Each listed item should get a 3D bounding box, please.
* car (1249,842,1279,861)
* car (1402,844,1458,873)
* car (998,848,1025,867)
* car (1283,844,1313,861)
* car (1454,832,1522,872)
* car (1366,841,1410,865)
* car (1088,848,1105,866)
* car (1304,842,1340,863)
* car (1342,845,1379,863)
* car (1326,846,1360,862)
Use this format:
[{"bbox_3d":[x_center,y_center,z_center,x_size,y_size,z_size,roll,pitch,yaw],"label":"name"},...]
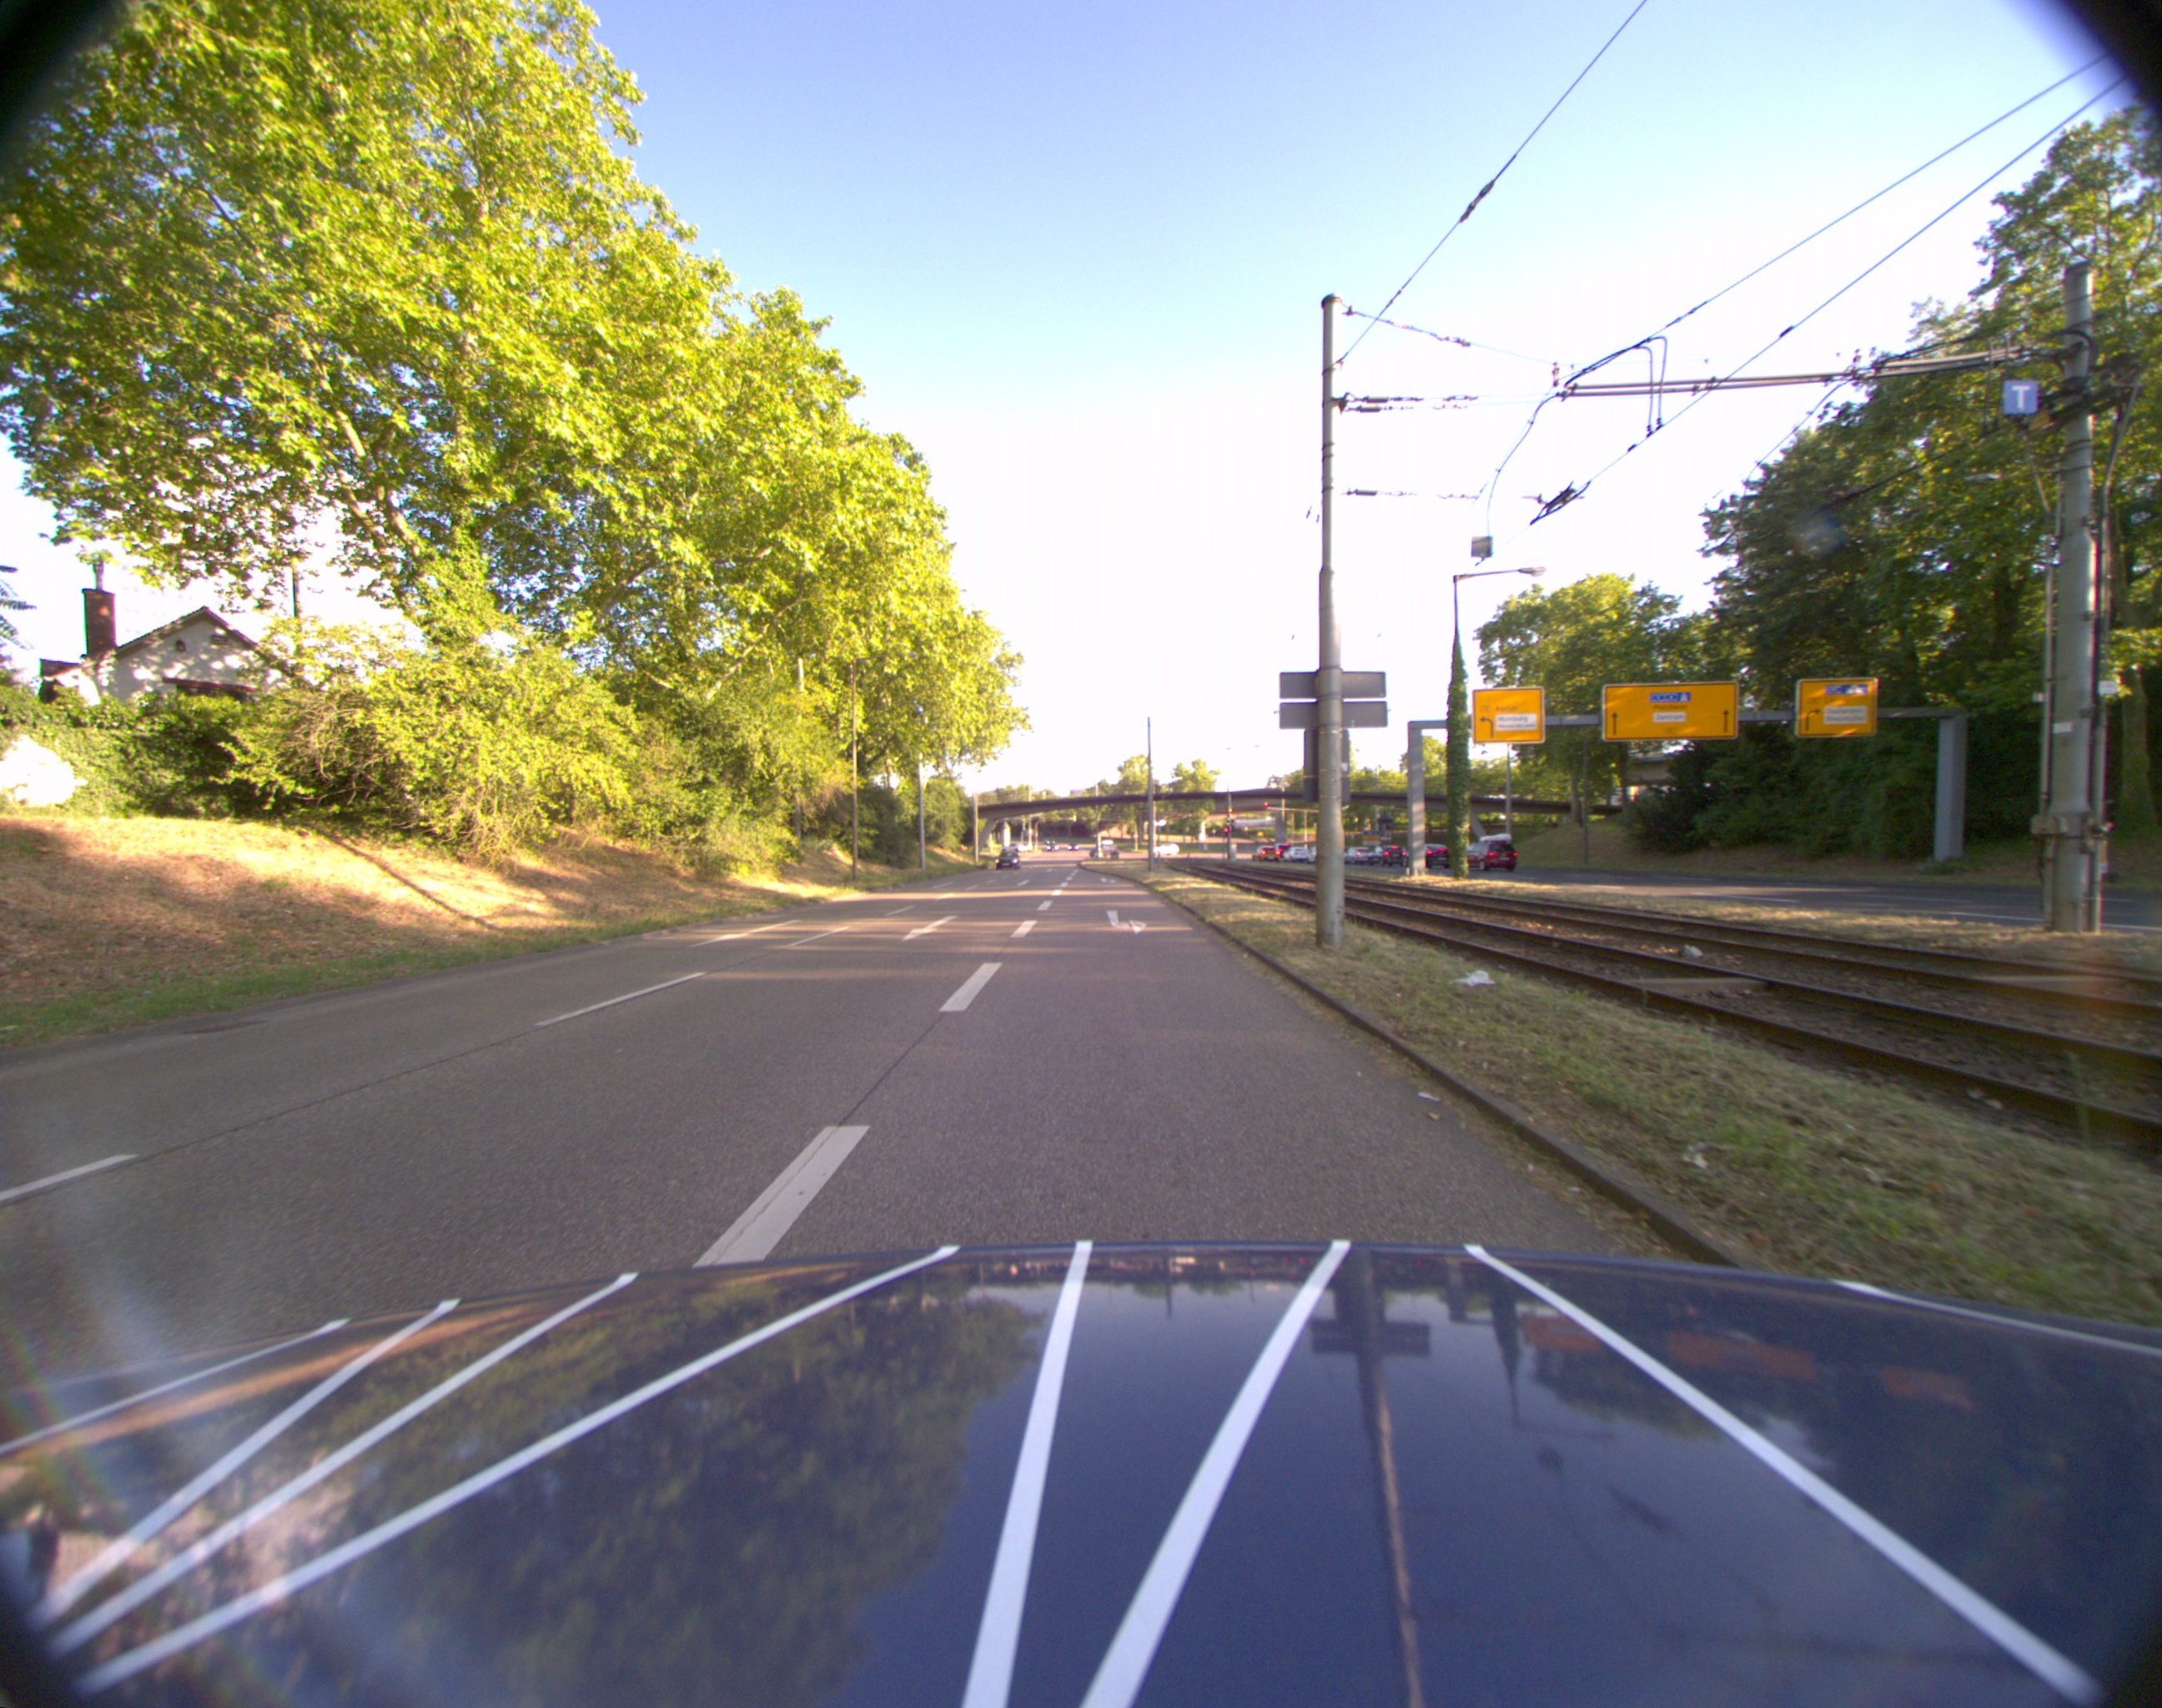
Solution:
[{"bbox_3d":[15.987,-0.235,66.514,1.667,1.556,3.999,-2,1,2],"label":"car"},{"bbox_3d":[23.076,0.256,50.435,1.796,1.740,4.240,-2,1,2],"label":"car"},{"bbox_3d":[-5.559,0.255,60.775,1.628,1.434,3.984,-2,1,1],"label":"car"},{"bbox_3d":[19.979,-0.181,70.199,1.745,1.424,4.411,1,1,4],"label":"car"},{"bbox_3d":[23.217,-0.153,43.487,1.796,2.093,3.999,-2,1,1],"label":"car"},{"bbox_3d":[23.210,-0.119,57.656,1.796,1.740,4.000,-2,1,2],"label":"car"},{"bbox_3d":[2.090,0.377,100.333,1.998,2.150,4.191,-2,1,3],"label":"car"},{"bbox_3d":[19.994,-0.136,63.209,1.667,1.556,4.190,-2,1,2],"label":"car"},{"bbox_3d":[24.000,-0.014,65.316,1.796,1.473,4.000,-2,1,2],"label":"car"},{"bbox_3d":[24.672,-0.011,71.679,1.796,1.375,4.476,-2,1,2],"label":"car"}]
